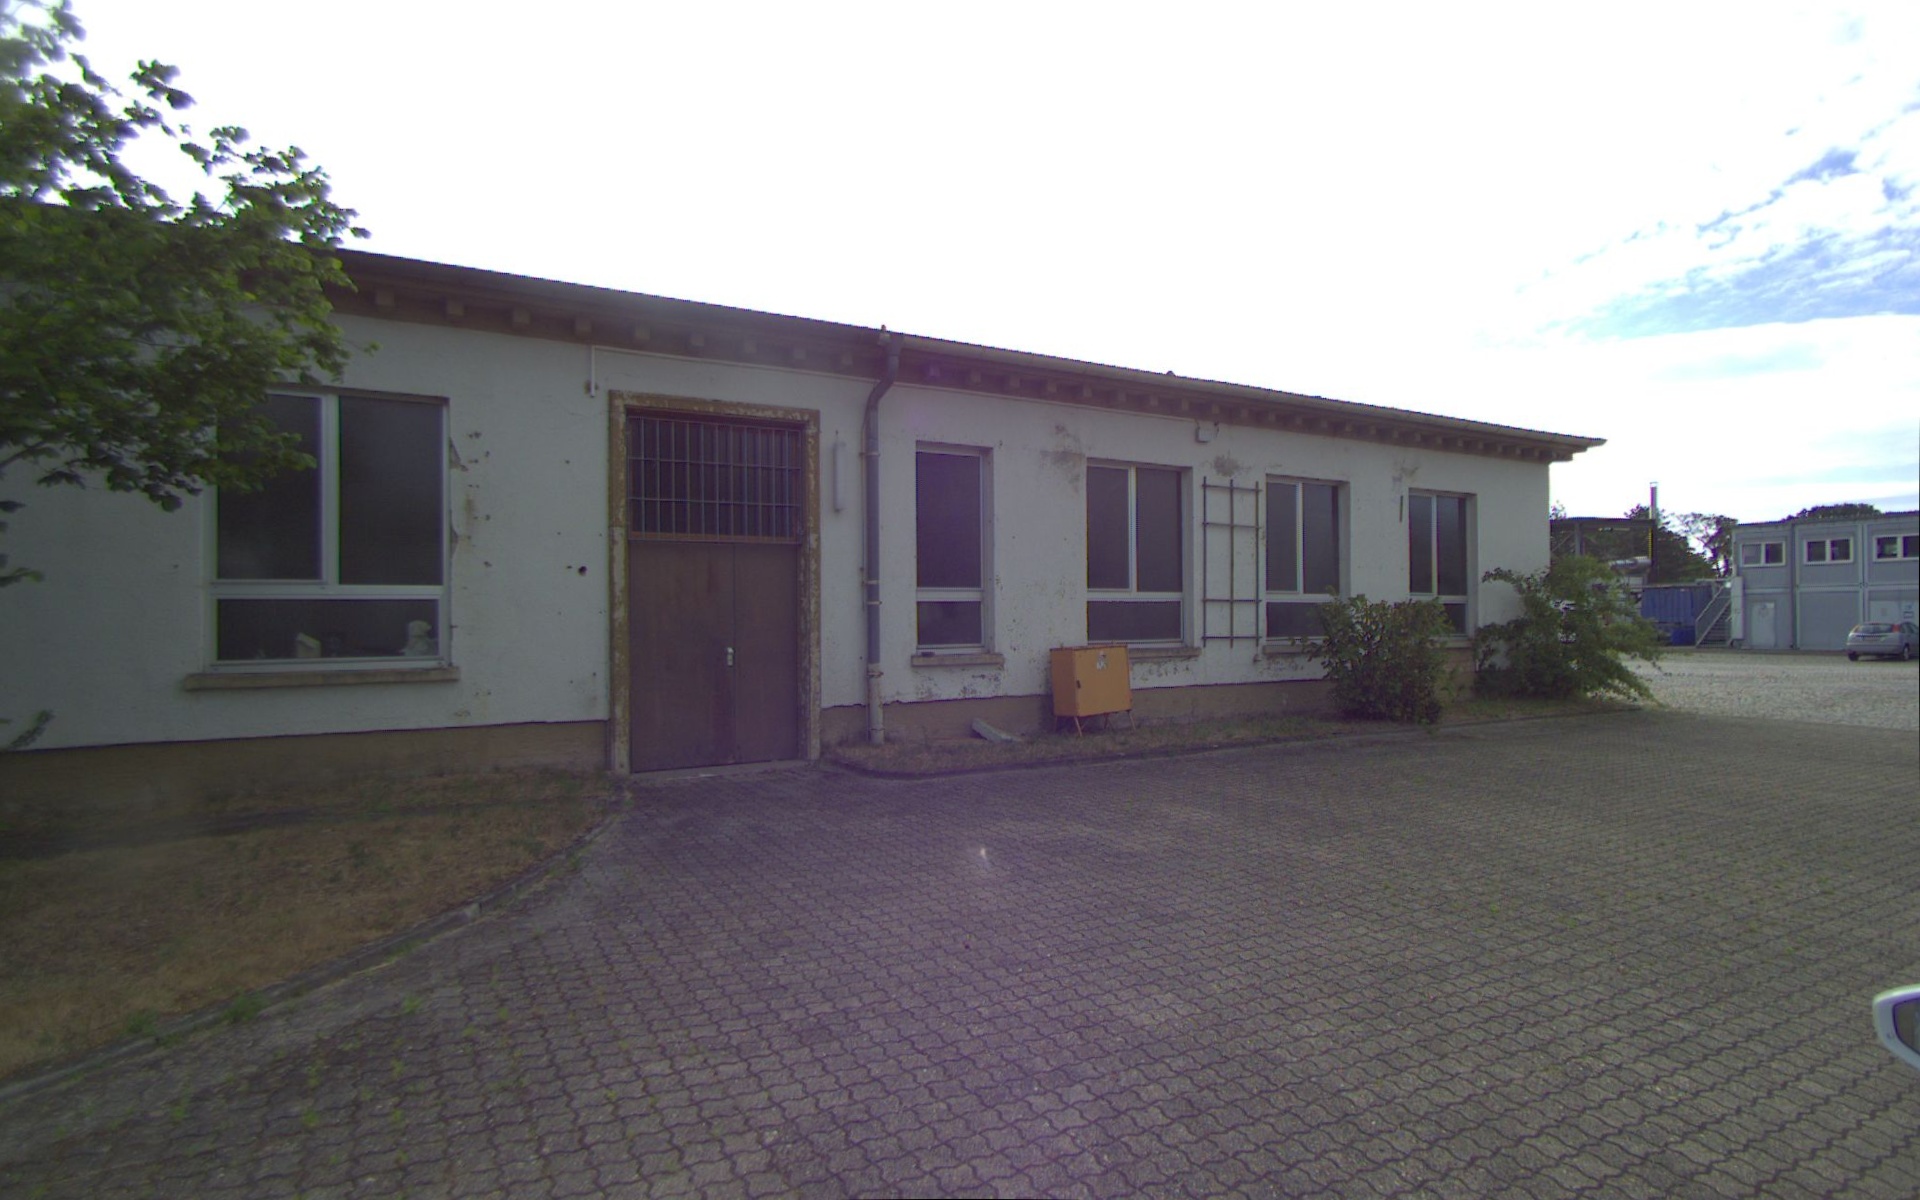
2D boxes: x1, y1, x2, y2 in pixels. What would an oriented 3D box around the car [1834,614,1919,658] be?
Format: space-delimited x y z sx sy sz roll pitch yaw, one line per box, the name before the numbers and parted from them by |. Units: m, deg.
car | 35.439 1.334 38.449 4.001 1.495 1.897 -1 -1 -32
